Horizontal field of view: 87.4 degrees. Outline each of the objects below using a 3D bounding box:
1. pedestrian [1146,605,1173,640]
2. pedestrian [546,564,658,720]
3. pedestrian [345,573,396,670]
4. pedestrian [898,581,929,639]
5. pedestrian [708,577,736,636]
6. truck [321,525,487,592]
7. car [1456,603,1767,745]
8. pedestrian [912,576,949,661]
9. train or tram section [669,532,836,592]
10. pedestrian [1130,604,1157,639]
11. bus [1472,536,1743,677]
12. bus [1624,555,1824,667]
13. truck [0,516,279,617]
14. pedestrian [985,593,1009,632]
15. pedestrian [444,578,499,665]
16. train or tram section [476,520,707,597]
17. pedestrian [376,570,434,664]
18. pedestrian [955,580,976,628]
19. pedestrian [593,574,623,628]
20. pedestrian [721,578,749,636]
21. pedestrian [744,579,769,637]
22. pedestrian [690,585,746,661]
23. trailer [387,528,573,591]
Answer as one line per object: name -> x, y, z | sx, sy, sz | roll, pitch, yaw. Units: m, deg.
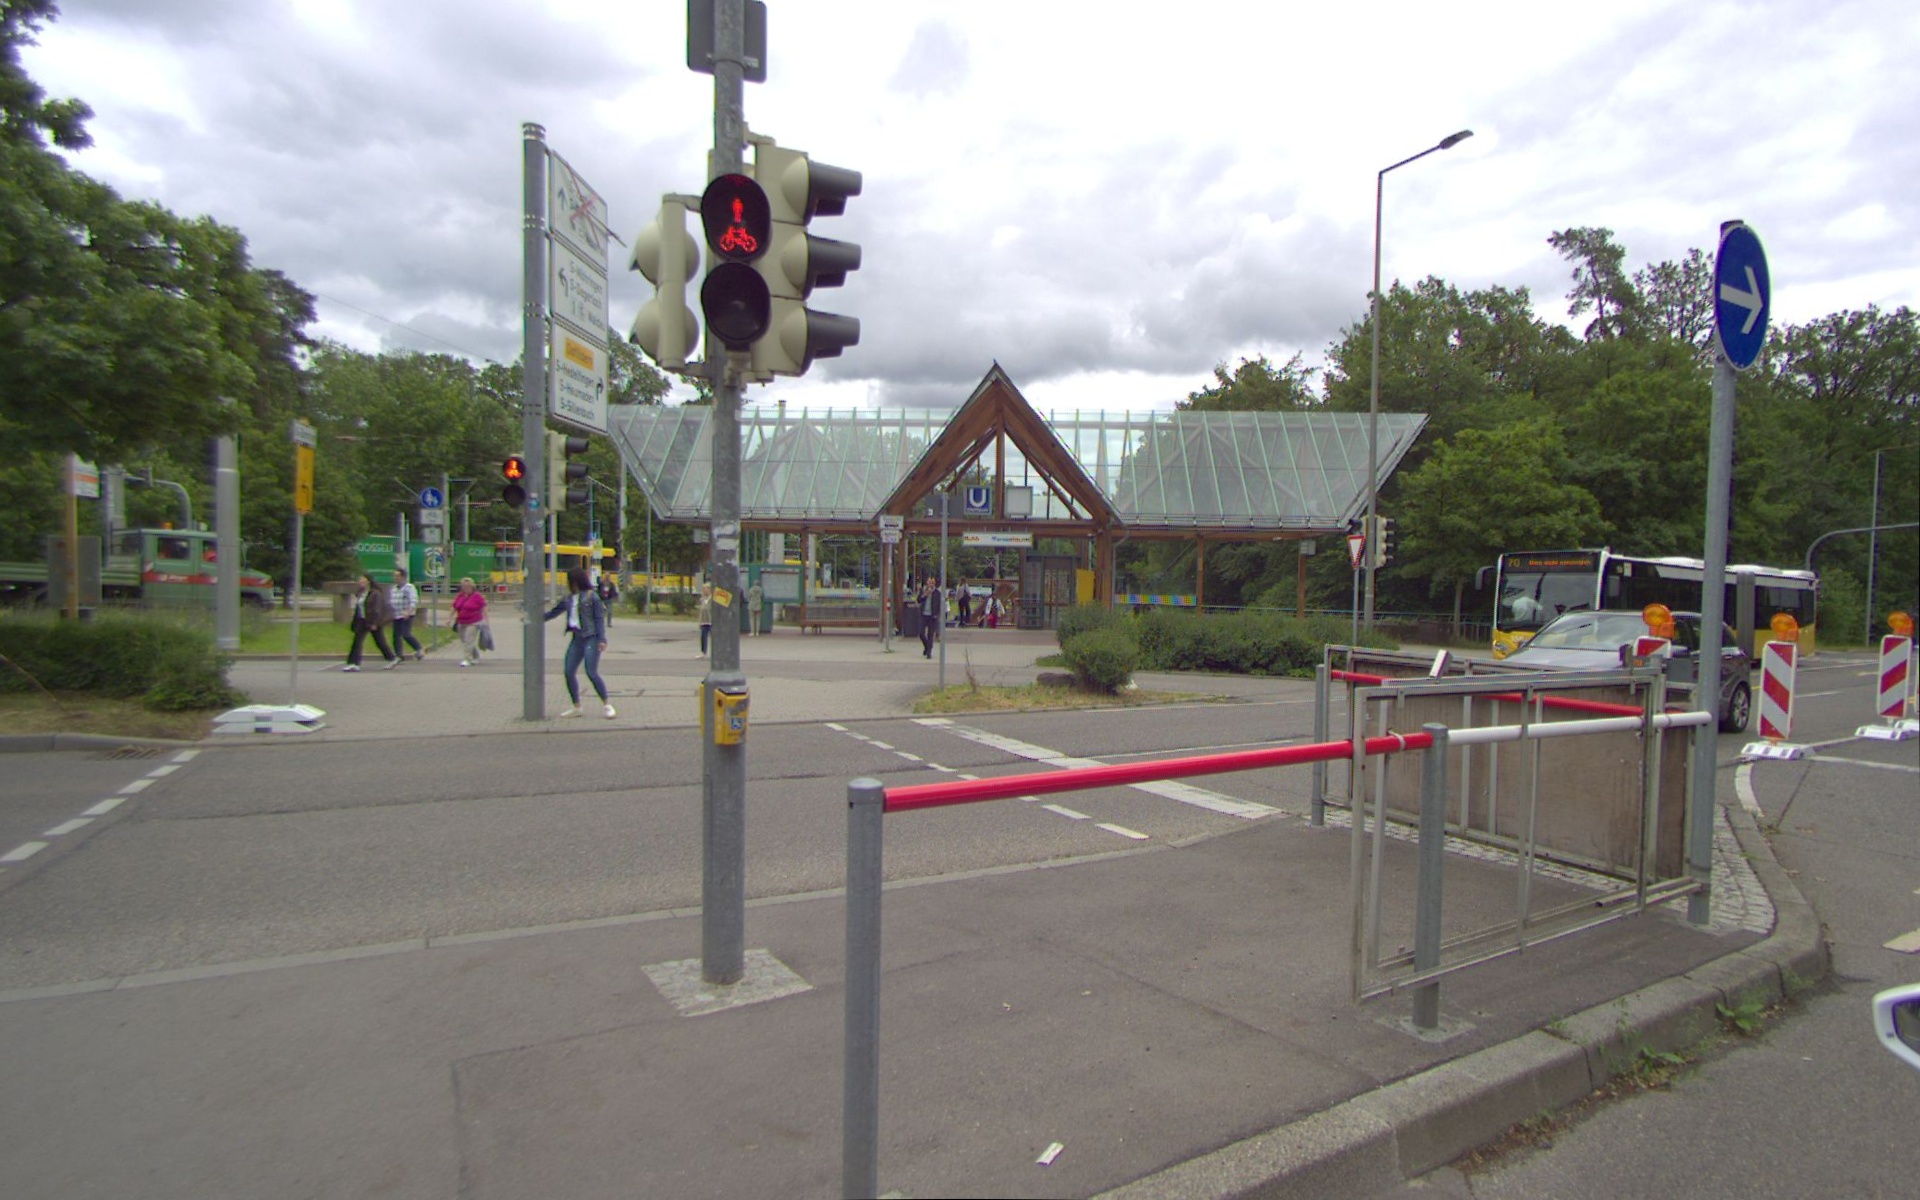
pedestrian -> 5.936, 0.656, 29.857 | 0.557, 0.997, 0.555 | 1, 2, -19
pedestrian -> -4.068, 0.472, 11.508 | 1.075, 1.698, 0.909 | 1, 0, -13
pedestrian -> -9.974, 0.355, 16.982 | 0.622, 1.566, 0.768 | 2, 2, -37
pedestrian -> -1.324, 0.290, 28.793 | 0.663, 1.618, 0.672 | 1, 3, -22
pedestrian -> -6.902, 0.182, 29.166 | 0.572, 1.647, 0.674 | 2, 2, 4
truck -> -35.447, -2.609, 64.483 | 3.718, 3.934, 8.760 | 3, 2, 27
car -> 8.393, 0.864, 12.835 | 4.263, 1.529, 1.797 | 2, -1, -34
pedestrian -> -0.666, 0.402, 22.709 | 0.751, 1.833, 0.994 | 2, 2, -2
train or tram section -> -17.548, -3.210, 88.411 | 3.517, 4.595, 20.643 | 3, 2, 22
pedestrian -> 5.387, 0.628, 29.555 | 0.557, 0.997, 0.546 | 1, 2, -18
bus -> 17.444, 0.187, 26.695 | 9.670, 3.169, 2.877 | 1, 1, -37
bus -> 24.684, 0.345, 32.281 | 8.614, 3.169, 2.877 | 1, 1, -37
truck -> -20.694, -0.811, 24.518 | 2.564, 2.200, 6.281 | 3, 3, 35
pedestrian -> 1.265, 0.419, 34.046 | 0.751, 1.286, 0.393 | 2, 2, 3
pedestrian -> -9.070, 0.390, 18.667 | 0.779, 1.573, 0.773 | 1, 2, -16
train or tram section -> -24.841, -2.762, 70.161 | 3.517, 4.595, 18.674 | 3, 2, 22
pedestrian -> -10.258, 0.298, 18.586 | 0.673, 1.688, 0.868 | 1, 2, -11
pedestrian -> 0.187, 0.142, 33.491 | 0.597, 1.575, 0.464 | 1, 2, -10
pedestrian -> -10.996, 0.037, 31.394 | 0.760, 1.647, 0.779 | 0, 3, -30
pedestrian -> -6.499, 0.197, 29.048 | 0.572, 1.647, 0.674 | 2, 2, 4
pedestrian -> -5.834, 0.223, 28.773 | 0.575, 1.647, 0.671 | 1, 3, -20
pedestrian -> -5.144, 0.464, 21.327 | 0.757, 1.545, 0.870 | 4, 3, 44
trailer -> -32.871, -2.719, 69.618 | 3.718, 3.934, 11.853 | 3, 2, 27
